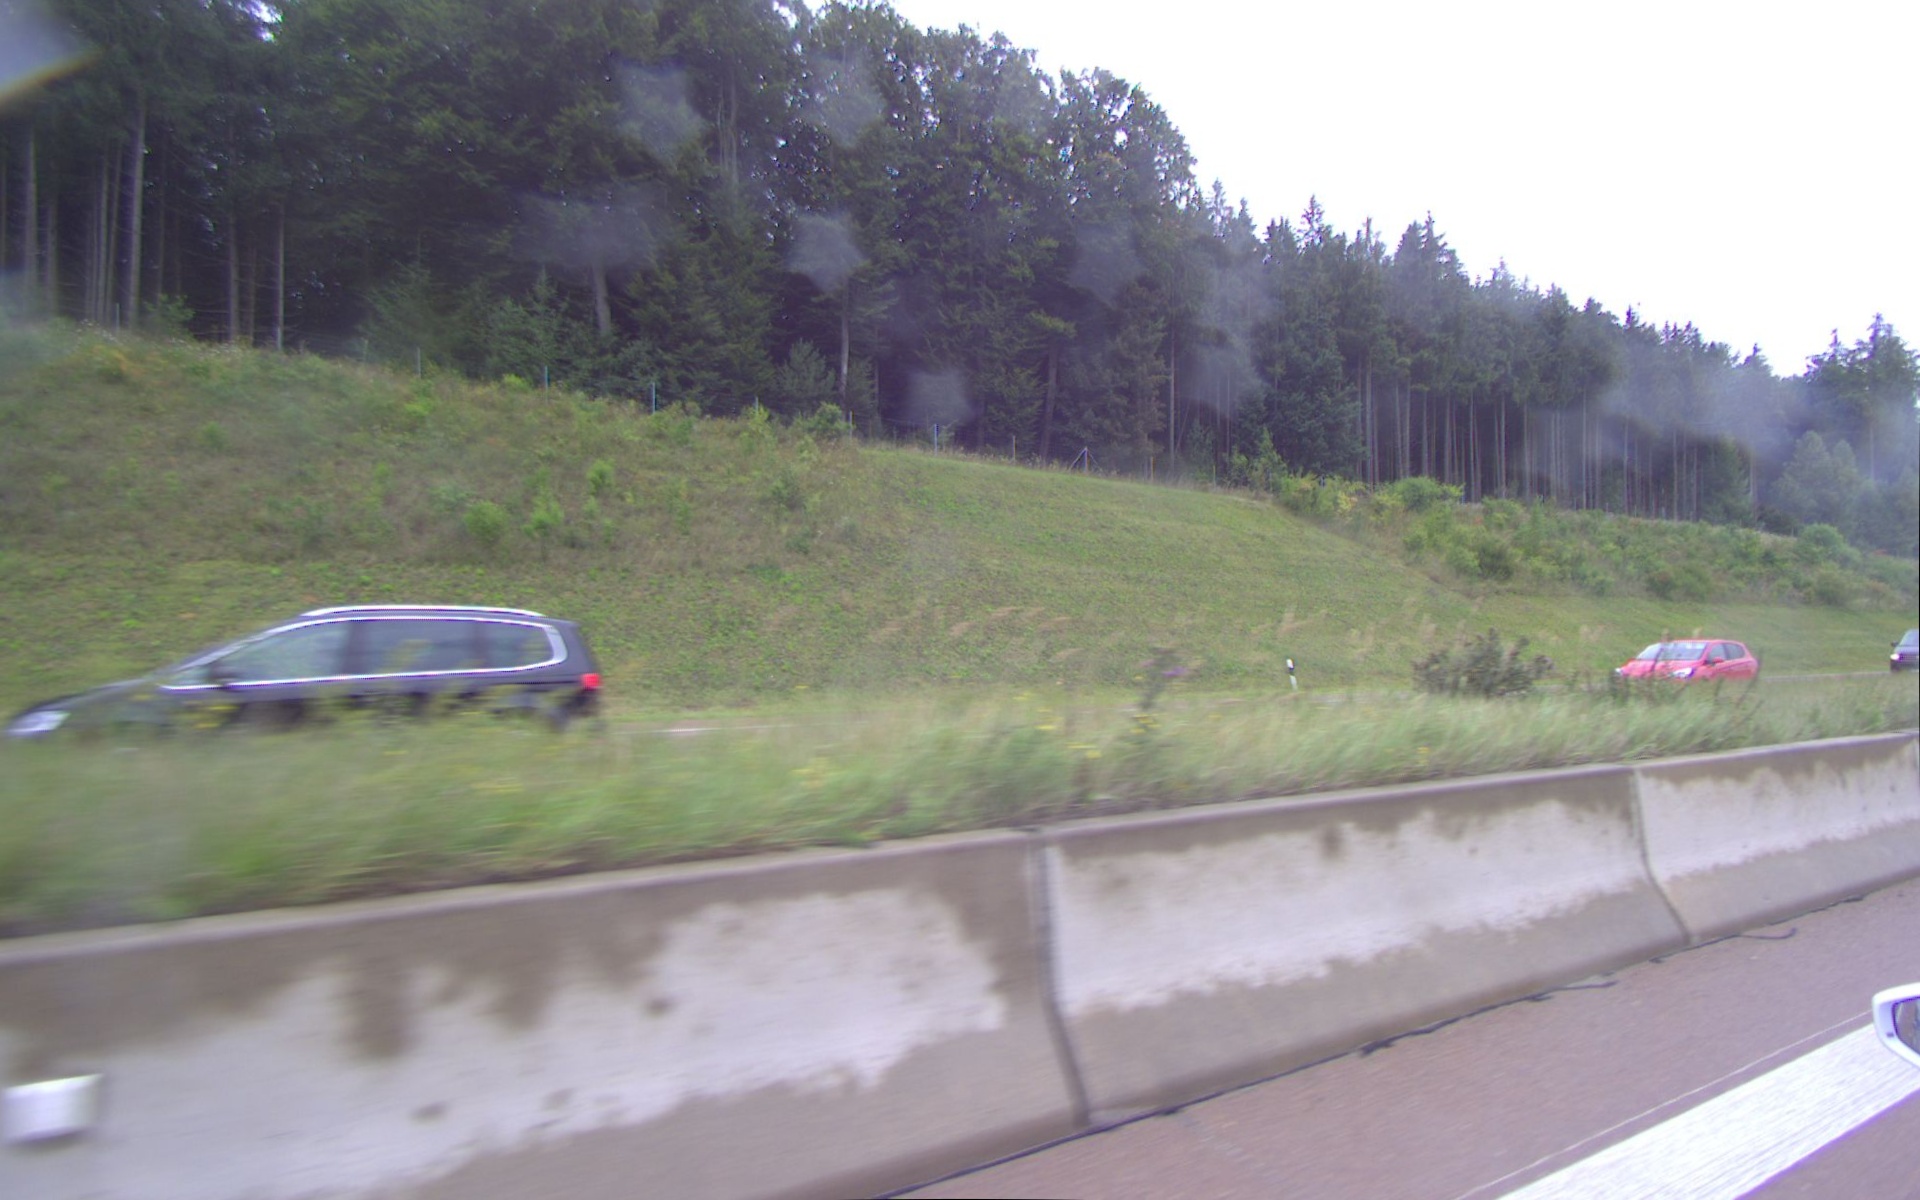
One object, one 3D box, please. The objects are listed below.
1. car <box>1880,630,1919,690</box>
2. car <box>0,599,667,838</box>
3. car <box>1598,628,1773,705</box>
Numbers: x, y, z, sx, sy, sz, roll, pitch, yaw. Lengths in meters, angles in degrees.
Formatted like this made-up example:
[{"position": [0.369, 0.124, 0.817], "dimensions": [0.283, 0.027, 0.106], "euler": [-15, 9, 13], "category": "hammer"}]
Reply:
[{"position": [35.906, 2.211, 36.604], "dimensions": [5.609, 2.040, 1.984], "euler": [2, -1, -31], "category": "car"}, {"position": [-5.569, 0.913, 9.586], "dimensions": [5.033, 1.790, 1.985], "euler": [1, 0, -30], "category": "car"}, {"position": [16.478, 1.484, 22.781], "dimensions": [4.069, 1.549, 1.718], "euler": [2, 0, -30], "category": "car"}]
